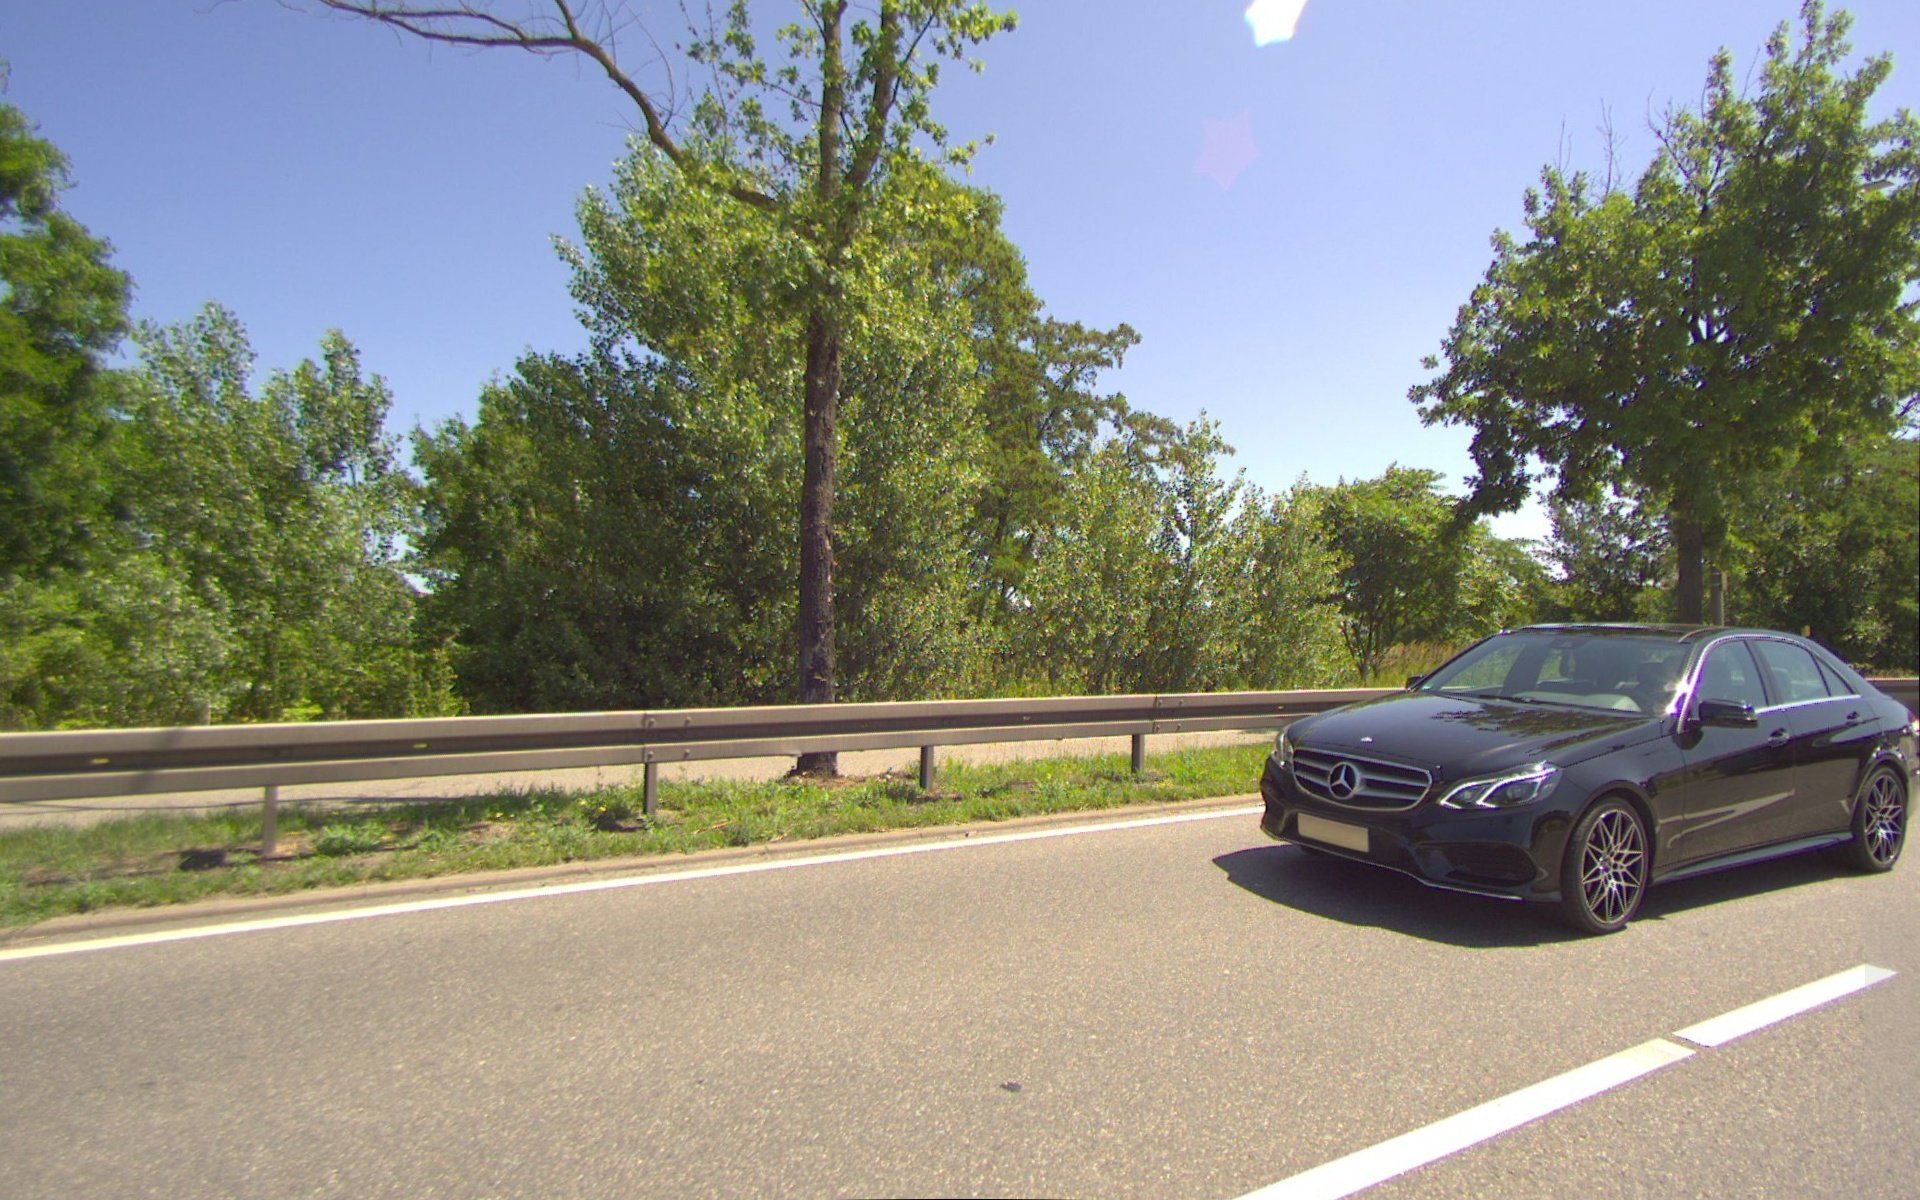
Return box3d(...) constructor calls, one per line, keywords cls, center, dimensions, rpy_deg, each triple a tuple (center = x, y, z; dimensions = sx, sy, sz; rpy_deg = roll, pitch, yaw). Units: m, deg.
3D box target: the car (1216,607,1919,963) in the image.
box3d(cls="car", center=(4.008, 0.850, 6.178), dimensions=(4.680, 1.487, 1.839), rpy_deg=(2, 0, -27))
